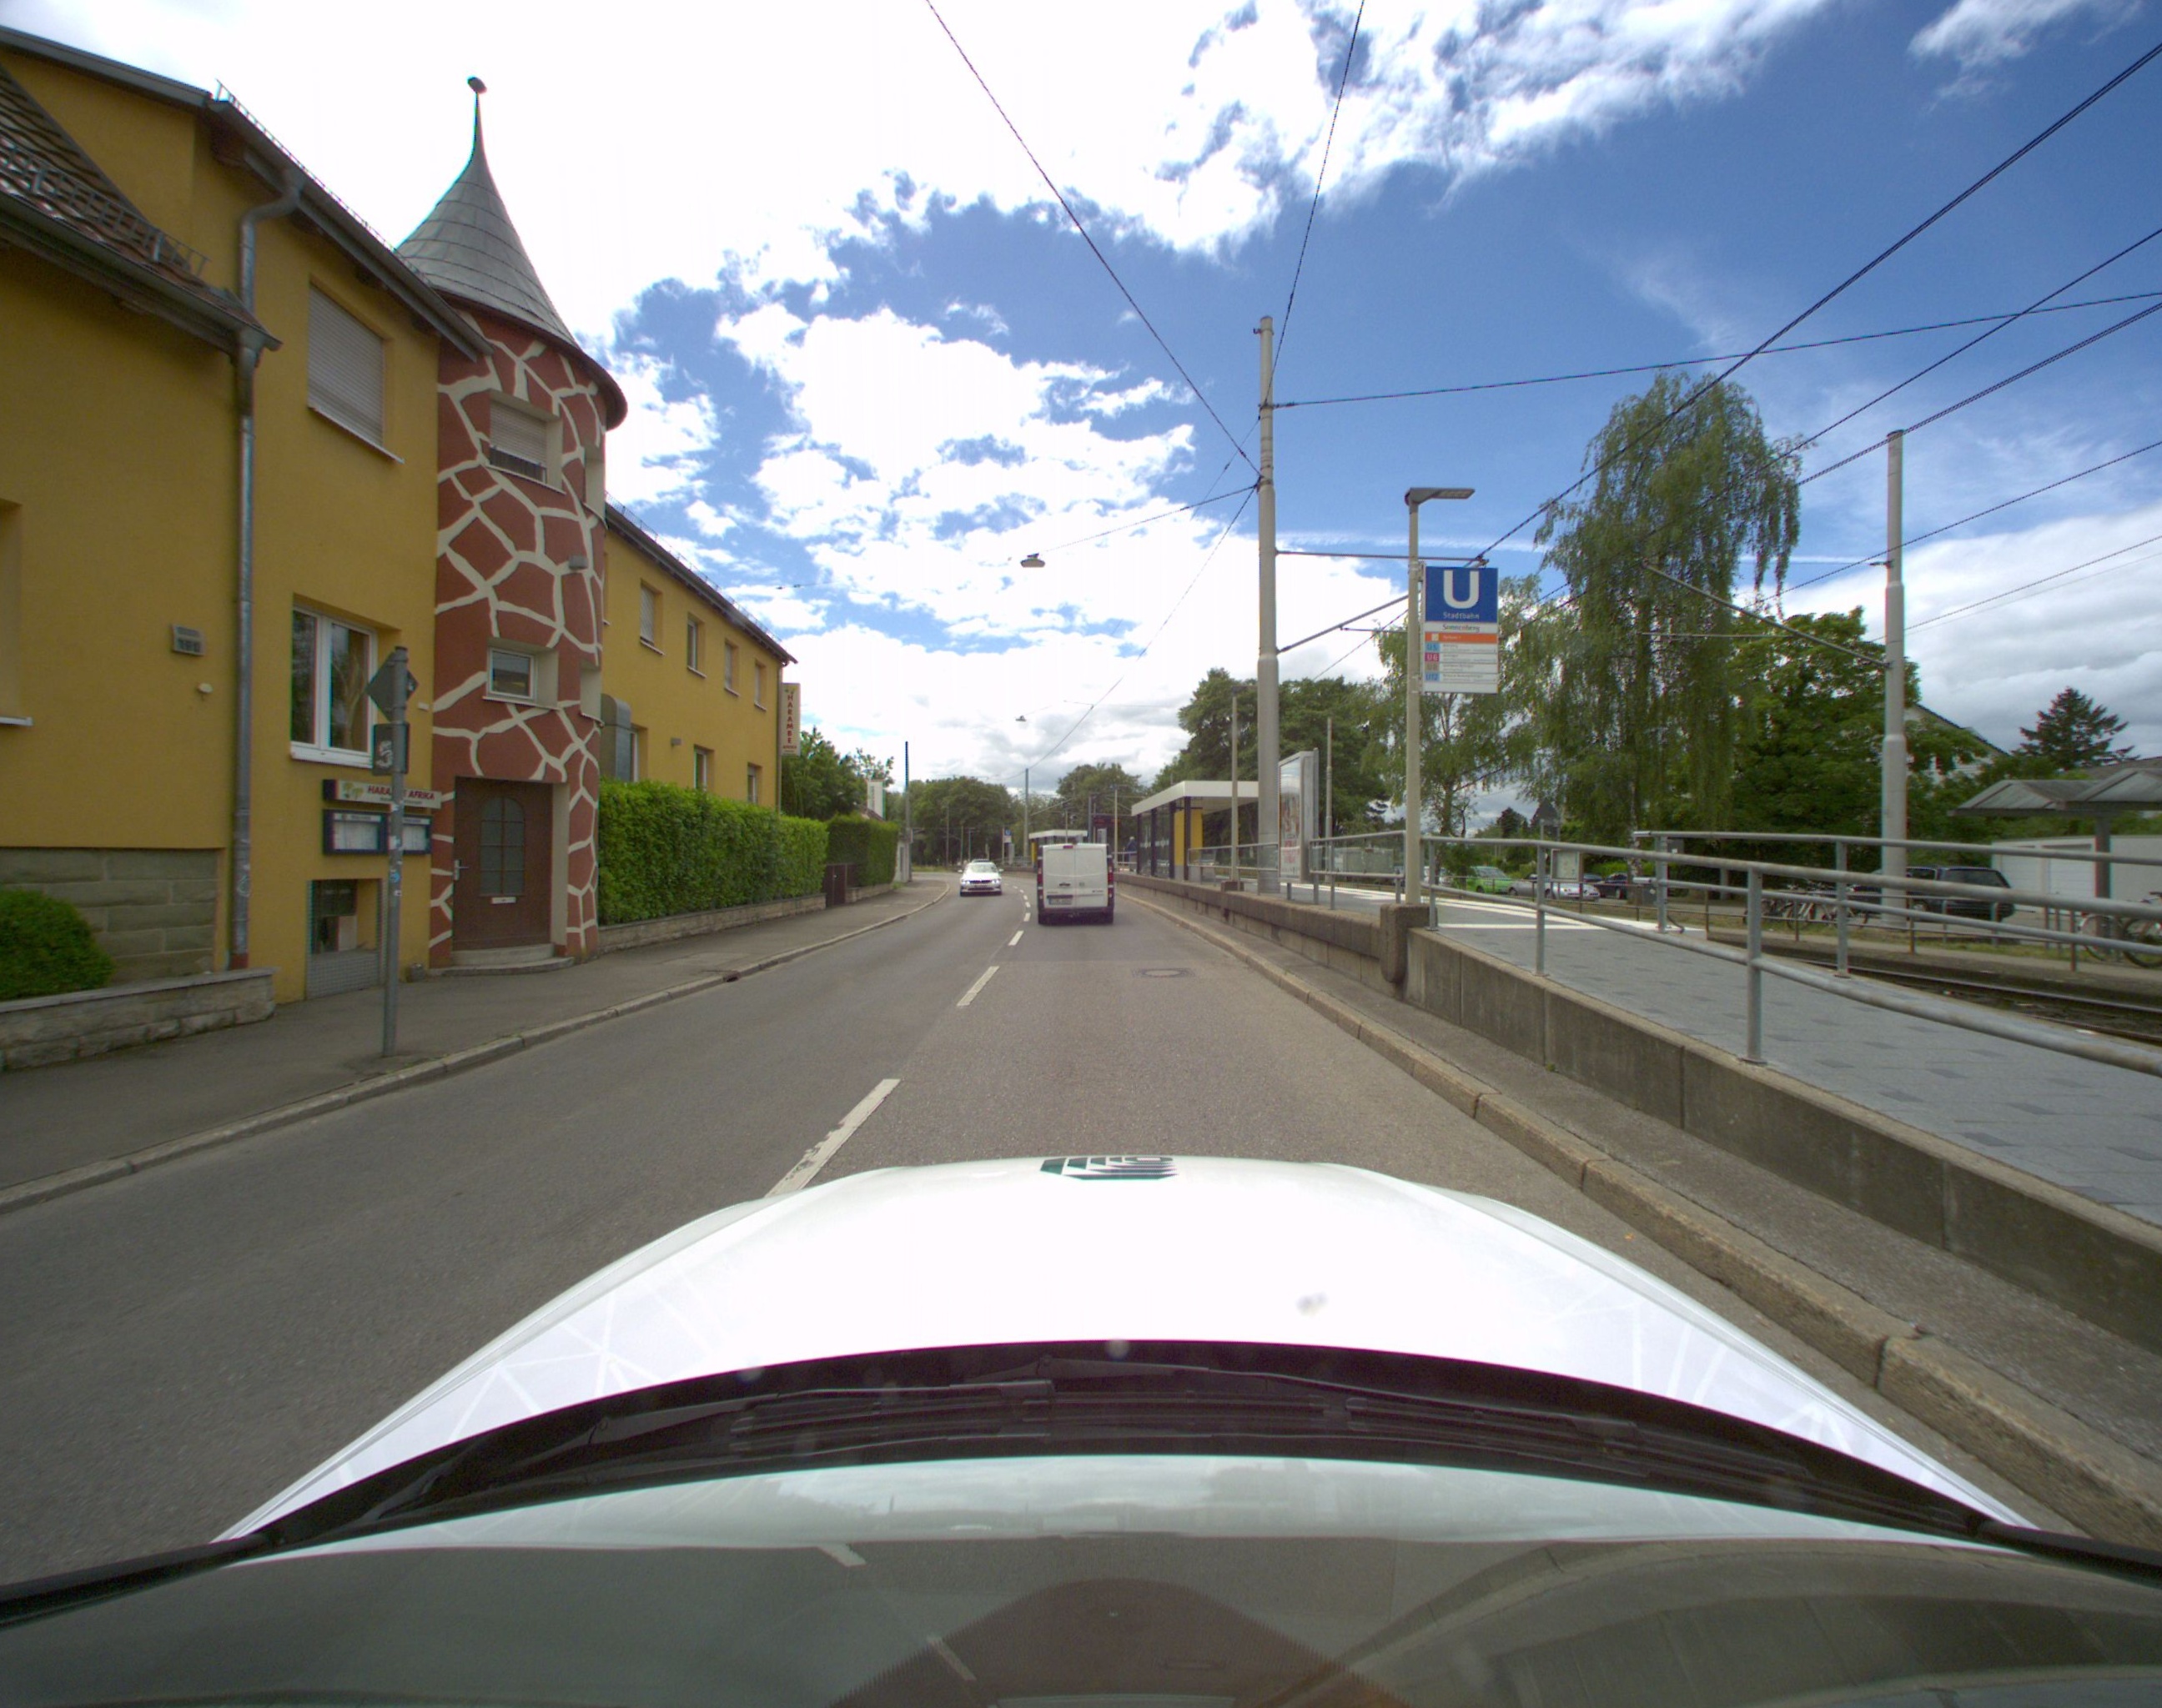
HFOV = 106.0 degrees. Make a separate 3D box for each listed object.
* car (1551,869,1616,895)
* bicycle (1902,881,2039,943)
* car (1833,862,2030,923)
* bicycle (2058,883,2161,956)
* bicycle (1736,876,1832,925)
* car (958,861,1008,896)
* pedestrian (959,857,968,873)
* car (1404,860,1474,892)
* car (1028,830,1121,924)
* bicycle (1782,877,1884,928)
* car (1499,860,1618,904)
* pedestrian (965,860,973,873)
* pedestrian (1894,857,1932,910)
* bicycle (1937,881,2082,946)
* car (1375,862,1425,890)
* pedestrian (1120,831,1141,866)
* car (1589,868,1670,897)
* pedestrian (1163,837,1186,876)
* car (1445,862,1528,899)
[{"bbox_3d":[30.117,1.657,49.007,1.745,1.488,4.710,-1,-2,11],"label":"car"},{"bbox_3d":[15.931,1.028,14.610,1.757,1.042,0.557,0,-1,4],"label":"bicycle"},{"bbox_3d":[25.458,1.084,24.677,1.802,1.636,4.857,0,0,14],"label":"car"},{"bbox_3d":[15.786,0.967,12.106,1.757,1.042,0.557,0,-1,4],"label":"bicycle"},{"bbox_3d":[15.467,1.019,17.921,1.763,1.042,0.556,1,-1,-7],"label":"bicycle"},{"bbox_3d":[-4.427,1.069,37.310,1.814,1.419,4.460,-2,0,-2],"label":"car"},{"bbox_3d":[-13.826,1.275,95.795,0.765,1.795,0.623,0,-1,-40],"label":"pedestrian"},{"bbox_3d":[18.292,1.095,41.810,1.752,1.574,4.097,0,0,-2],"label":"car"},{"bbox_3d":[-0.120,0.562,21.511,2.109,2.134,5.441,1,-1,1],"label":"car"},{"bbox_3d":[15.852,1.021,17.180,1.762,1.042,0.556,1,-1,-6],"label":"bicycle"},{"bbox_3d":[18.499,1.035,31.811,2.058,1.574,4.257,0,0,-2],"label":"car"},{"bbox_3d":[-12.959,1.405,94.281,0.765,1.492,0.623,0,-1,-40],"label":"pedestrian"},{"bbox_3d":[28.429,0.998,27.851,0.817,1.771,0.688,0,-1,38],"label":"pedestrian"},{"bbox_3d":[15.861,1.006,13.941,1.757,1.042,0.557,0,-1,4],"label":"bicycle"},{"bbox_3d":[18.394,1.232,47.134,1.829,1.488,4.513,0,0,9],"label":"car"},{"bbox_3d":[2.389,-0.277,39.340,0.884,1.671,0.908,0,-1,-6],"label":"pedestrian"},{"bbox_3d":[29.007,1.492,43.229,1.745,1.488,4.943,-1,-2,11],"label":"car"},{"bbox_3d":[3.107,0.089,27.218,0.620,1.299,0.718,0,-1,-7],"label":"pedestrian"},{"bbox_3d":[18.371,1.150,37.078,1.725,1.574,3.997,0,0,-2],"label":"car"}]
